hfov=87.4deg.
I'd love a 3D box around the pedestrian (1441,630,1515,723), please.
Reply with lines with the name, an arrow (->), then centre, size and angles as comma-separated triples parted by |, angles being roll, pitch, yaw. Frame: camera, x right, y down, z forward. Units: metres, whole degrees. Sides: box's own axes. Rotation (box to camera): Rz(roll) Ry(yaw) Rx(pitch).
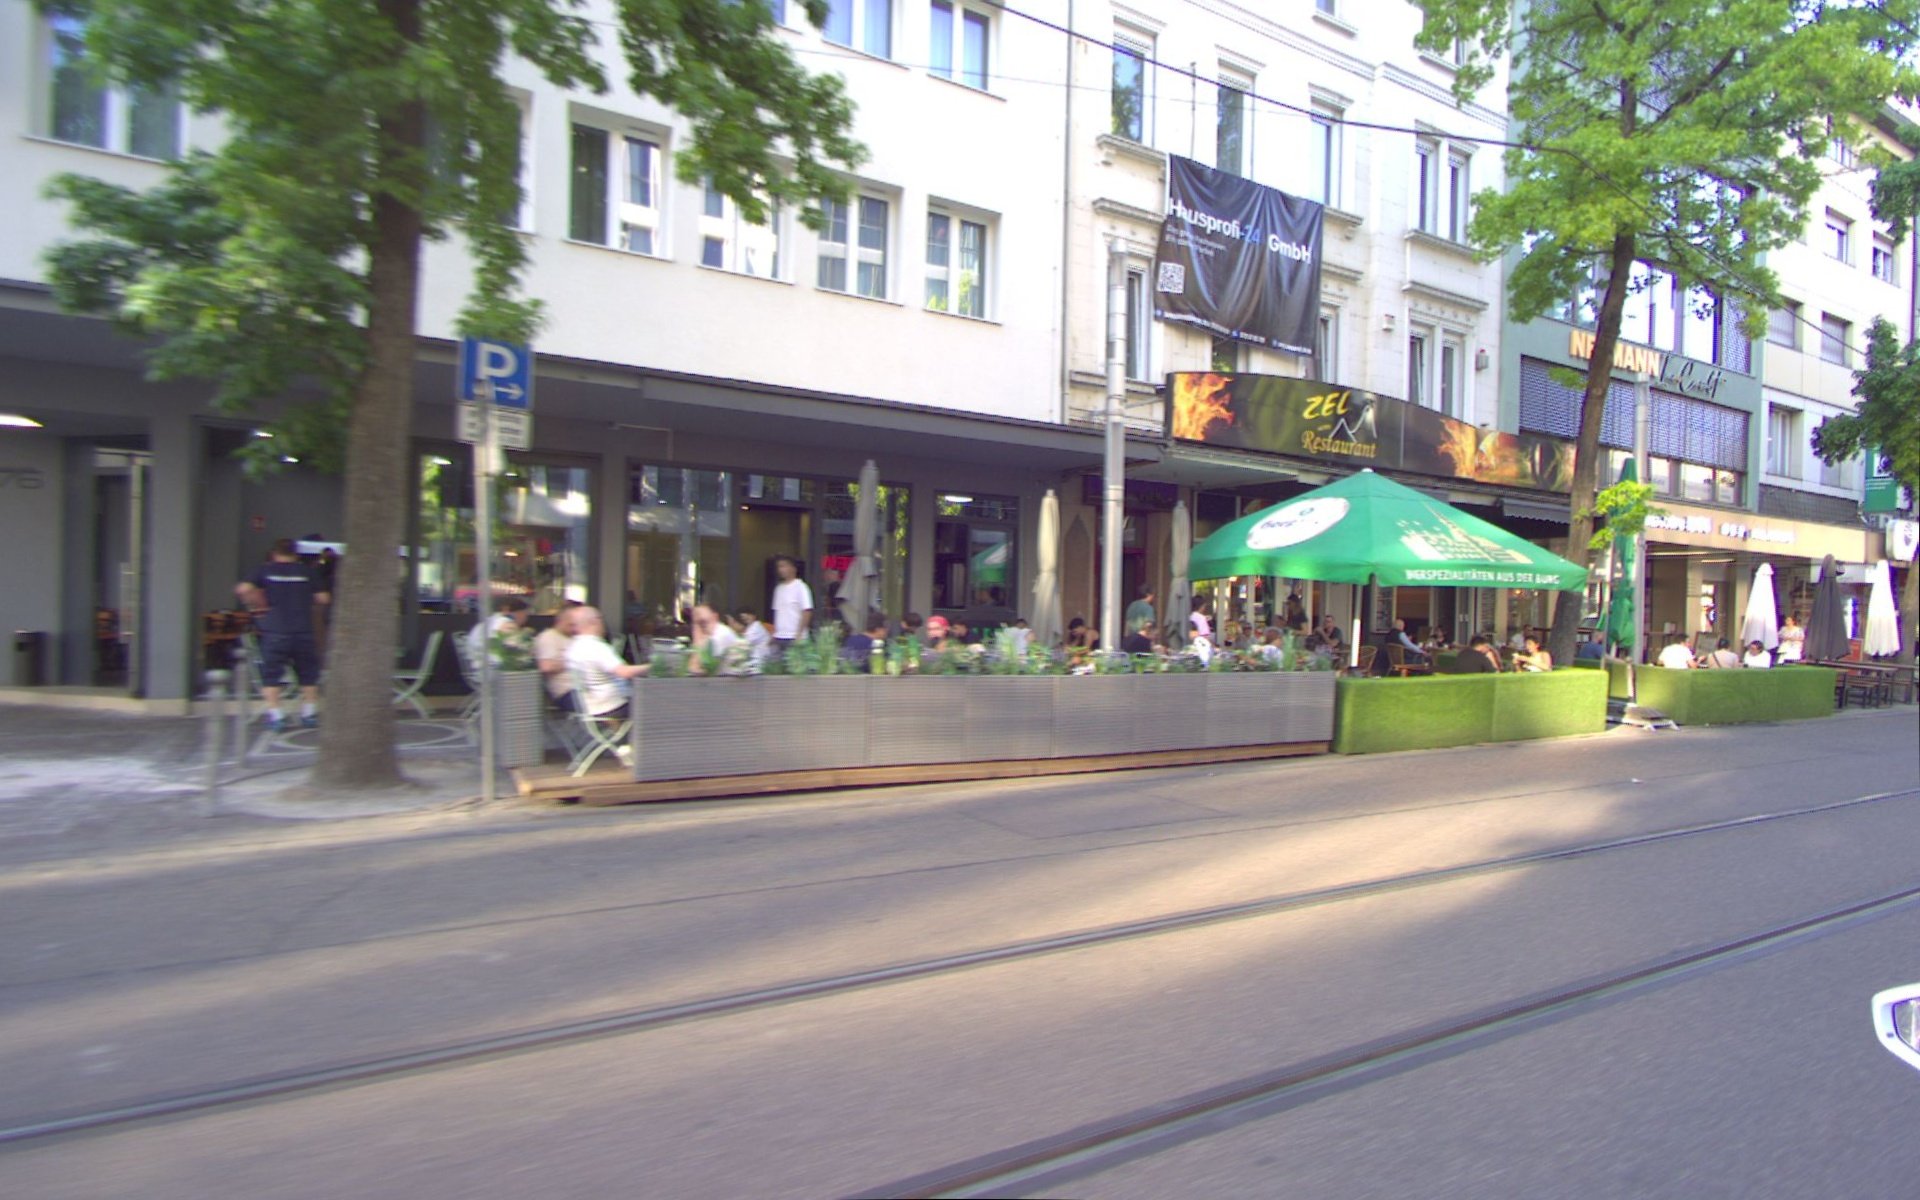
pedestrian -> 7.512, 1.090, 14.570 | 0.689, 1.262, 0.616 | 1, 3, -30

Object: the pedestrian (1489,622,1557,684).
pedestrian -> 11.739, 1.091, 20.938 | 1.052, 1.204, 0.749 | 1, 3, -30

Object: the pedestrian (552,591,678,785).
pedestrian -> -2.694, 0.651, 7.823 | 0.797, 1.405, 0.686 | 1, 2, -29

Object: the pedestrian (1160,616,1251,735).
pedestrian -> 3.005, 0.908, 12.310 | 0.771, 1.365, 0.705 | 1, 2, -27

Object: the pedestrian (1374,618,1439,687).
pedestrian -> 8.425, 0.983, 18.970 | 0.779, 1.230, 0.733 | 1, 3, -30

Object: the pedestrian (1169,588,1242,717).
pedestrian -> 3.362, 0.706, 13.777 | 0.689, 1.693, 0.616 | 1, 2, -30

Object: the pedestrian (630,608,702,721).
pedestrian -> -3.421, 0.732, 11.685 | 0.678, 1.252, 0.550 | 1, 2, -29

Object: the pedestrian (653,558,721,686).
pedestrian -> -4.071, 0.315, 15.018 | 0.673, 1.844, 0.767 | 2, 1, 10

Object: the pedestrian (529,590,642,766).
pedestrian -> -3.217, 0.638, 8.606 | 0.797, 1.405, 0.686 | 1, 2, -29

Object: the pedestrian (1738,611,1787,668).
pedestrian -> 22.256, 1.092, 27.863 | 0.756, 1.486, 0.765 | 1, 3, -32

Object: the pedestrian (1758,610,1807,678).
pedestrian -> 19.993, 1.058, 24.423 | 0.692, 1.595, 0.644 | 1, 2, -30

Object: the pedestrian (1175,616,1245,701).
pedestrian -> 3.931, 0.902, 15.799 | 0.789, 1.259, 0.666 | 1, 2, -30

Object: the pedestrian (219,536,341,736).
pedestrian -> -6.522, 0.334, 9.675 | 0.751, 1.840, 0.685 | 2, 1, -14

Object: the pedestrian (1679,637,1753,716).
pedestrian -> 12.944, 1.297, 17.203 | 0.862, 1.261, 0.653 | 1, 3, -30

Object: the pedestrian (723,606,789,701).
pedestrian -> -2.644, 0.685, 13.016 | 0.678, 1.177, 0.550 | 1, 2, -29

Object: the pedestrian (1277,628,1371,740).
pedestrian -> 4.450, 1.007, 12.299 | 0.762, 1.276, 0.705 | 1, 2, -27

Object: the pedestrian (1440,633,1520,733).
pedestrian -> 6.985, 1.100, 13.509 | 0.689, 1.262, 0.616 | 1, 3, -30

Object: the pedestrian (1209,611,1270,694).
pedestrian -> 4.717, 0.879, 16.958 | 0.689, 1.327, 0.616 | 1, 3, -30

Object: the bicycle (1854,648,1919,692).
bicycle -> 21.733, 1.616, 22.901 | 1.822, 0.876, 0.837 | 2, 2, 9

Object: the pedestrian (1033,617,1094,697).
pedestrian -> 1.598, 0.864, 15.520 | 0.679, 1.173, 0.599 | 1, 2, -29

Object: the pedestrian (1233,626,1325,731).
pedestrian -> 4.138, 0.999, 13.055 | 0.858, 1.276, 0.705 | 1, 2, -27

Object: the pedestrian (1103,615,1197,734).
pedestrian -> 2.241, 0.861, 11.904 | 0.797, 1.329, 0.686 | 1, 2, -29

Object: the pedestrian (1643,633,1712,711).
pedestrian -> 12.781, 1.264, 17.893 | 0.788, 1.310, 0.653 | 1, 3, -30

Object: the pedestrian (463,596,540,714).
pedestrian -> -5.265, 0.613, 11.520 | 0.730, 1.286, 0.642 | 1, 2, -29

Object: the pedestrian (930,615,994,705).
pedestrian -> 0.025, 0.810, 13.835 | 0.678, 1.177, 0.550 | 1, 2, -29

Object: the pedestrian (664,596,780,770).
pedestrian -> -2.075, 0.691, 8.731 | 0.797, 1.405, 0.686 | 1, 2, -29

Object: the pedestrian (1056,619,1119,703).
pedestrian -> 1.889, 0.891, 14.925 | 0.679, 1.190, 0.599 | 1, 2, -29

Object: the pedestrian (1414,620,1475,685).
pedestrian -> 9.458, 1.018, 19.605 | 0.779, 1.184, 0.696 | 1, 3, -30

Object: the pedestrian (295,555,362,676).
pedestrian -> -8.695, 0.211, 13.838 | 0.492, 1.625, 0.619 | 1, 0, 34

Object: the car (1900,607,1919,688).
car -> 24.921, 1.207, 24.319 | 4.498, 1.890, 1.787 | 1, 2, -29

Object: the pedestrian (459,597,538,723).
pedestrian -> -5.016, 0.633, 10.904 | 0.719, 1.299, 0.624 | 1, 2, -29

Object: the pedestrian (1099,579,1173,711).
pedestrian -> 2.454, 0.612, 14.034 | 0.688, 1.780, 0.675 | 1, 2, -28

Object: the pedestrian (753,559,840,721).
pedestrian -> -1.916, 0.446, 11.821 | 0.744, 1.816, 0.687 | 2, 1, 14

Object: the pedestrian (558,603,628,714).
pedestrian -> -4.345, 0.675, 11.882 | 0.678, 1.252, 0.550 | 1, 2, -29

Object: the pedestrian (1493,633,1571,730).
pedestrian -> 7.936, 1.111, 13.940 | 0.689, 1.262, 0.616 | 1, 3, -30

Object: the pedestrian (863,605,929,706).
pedestrian -> -0.879, 0.746, 13.761 | 0.678, 1.316, 0.599 | 1, 2, -29

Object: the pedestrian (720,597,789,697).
pedestrian -> -2.530, 0.564, 12.344 | 0.678, 1.177, 0.550 | 1, 2, -29

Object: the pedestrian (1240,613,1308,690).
pedestrian -> 5.439, 0.883, 17.434 | 0.779, 1.248, 0.733 | 1, 3, -30

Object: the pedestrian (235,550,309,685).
pedestrian -> -8.455, 0.210, 12.356 | 0.608, 1.625, 0.405 | 1, 0, 4

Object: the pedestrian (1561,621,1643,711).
pedestrian -> 10.495, 1.065, 16.425 | 0.862, 1.361, 0.750 | 1, 3, -30

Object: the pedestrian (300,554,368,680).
pedestrian -> -8.257, 0.222, 13.262 | 0.608, 1.625, 0.405 | 1, 0, 4

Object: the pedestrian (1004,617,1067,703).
pedestrian -> 1.082, 0.857, 14.471 | 0.678, 1.177, 0.550 | 1, 2, -29

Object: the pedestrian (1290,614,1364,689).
pedestrian -> 6.585, 0.909, 18.044 | 0.934, 1.254, 0.773 | 1, 3, -30

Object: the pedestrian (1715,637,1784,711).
pedestrian -> 13.908, 1.286, 17.702 | 0.788, 1.209, 0.653 | 1, 3, -30
